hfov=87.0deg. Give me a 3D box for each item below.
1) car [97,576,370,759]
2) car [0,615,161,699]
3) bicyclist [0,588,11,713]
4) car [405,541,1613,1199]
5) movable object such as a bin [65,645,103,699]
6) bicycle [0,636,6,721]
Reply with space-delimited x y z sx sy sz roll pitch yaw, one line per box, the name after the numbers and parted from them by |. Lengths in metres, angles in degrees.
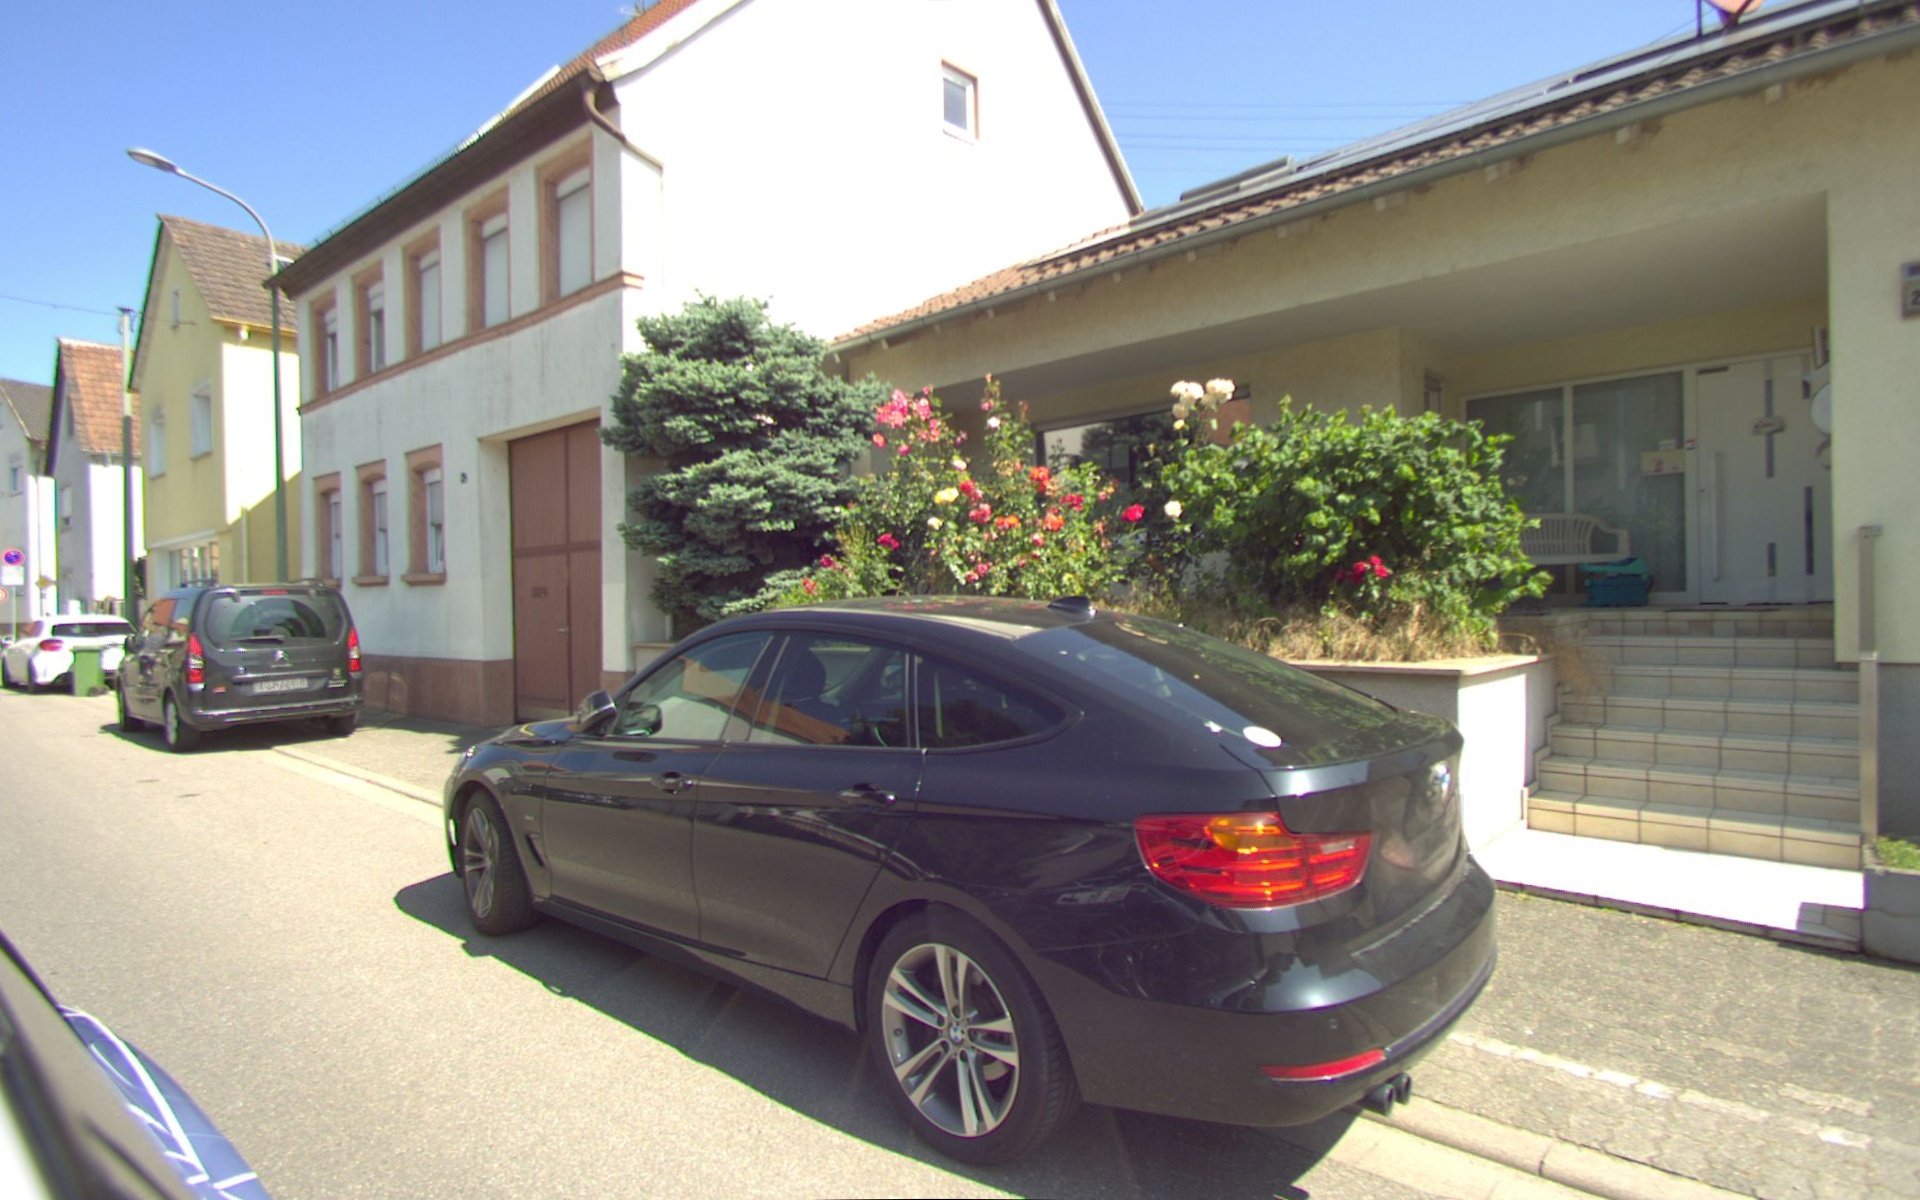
-8.983 0.697 12.370 4.352 1.851 1.815 -1 0 42 | car
-17.450 1.052 19.882 4.265 1.475 1.817 -1 -1 38 | car
-14.073 0.733 14.387 0.624 1.784 0.697 -1 1 37 | bicyclist
-0.348 0.683 4.068 4.764 1.538 1.825 -1 0 42 | car
-15.665 1.286 18.112 0.419 0.911 0.497 -1 0 -31 | movable object such as a bin
-14.142 1.098 14.363 1.946 1.157 0.583 -1 -1 38 | bicycle
